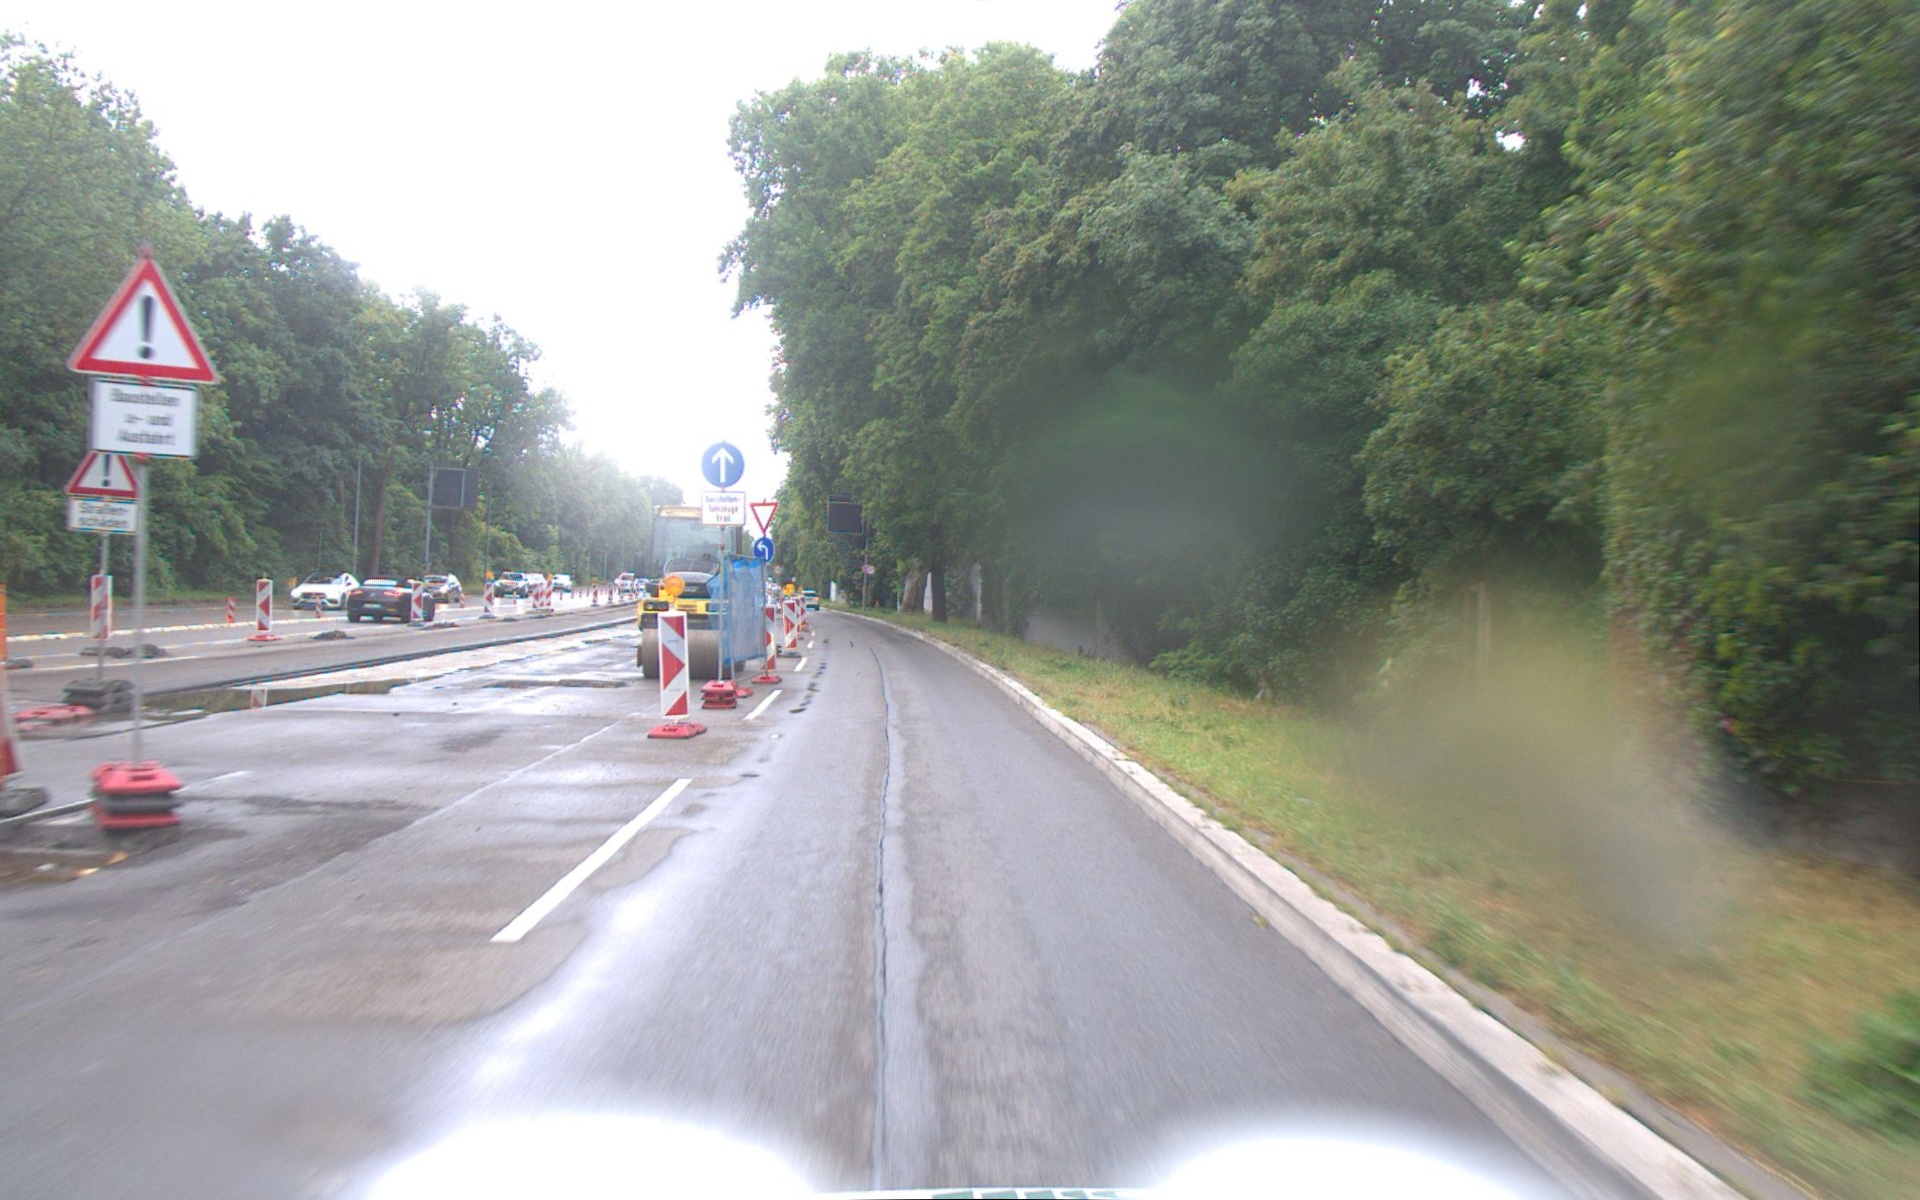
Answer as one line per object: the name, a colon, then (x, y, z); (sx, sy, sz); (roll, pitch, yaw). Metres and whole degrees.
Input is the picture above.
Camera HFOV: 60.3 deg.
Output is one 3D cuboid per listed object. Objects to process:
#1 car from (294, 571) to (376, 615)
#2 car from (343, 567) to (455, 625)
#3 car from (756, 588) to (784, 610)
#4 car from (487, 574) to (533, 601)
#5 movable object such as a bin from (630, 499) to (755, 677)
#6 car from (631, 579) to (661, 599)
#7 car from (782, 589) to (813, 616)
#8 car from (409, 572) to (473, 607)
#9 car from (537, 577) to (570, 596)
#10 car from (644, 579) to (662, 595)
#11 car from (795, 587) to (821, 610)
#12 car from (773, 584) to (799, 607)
car: (-24.223, -0.271, 64.223); (1.683, 1.629, 3.999); (0, 0, -1)
car: (-17.204, -0.148, 50.930); (1.823, 1.517, 4.003); (4, 3, 3)
car: (-15.602, -0.102, 135.891); (1.837, 1.645, 4.000); (5, 1, -1)
car: (-30.576, -0.844, 112.551); (1.888, 1.694, 4.651); (1, 0, -1)
movable object such as a bin: (-4.654, -0.203, 29.200); (1.711, 2.917, 3.533); (1, 0, -2)
car: (-29.412, -0.999, 155.081); (1.888, 1.809, 4.651); (1, 0, -1)
car: (-9.566, 0.120, 97.181); (1.723, 1.367, 3.995); (3, 1, -6)
car: (-26.917, -0.547, 85.974); (1.888, 1.694, 4.651); (1, 0, -1)
car: (-37.275, -1.213, 151.836); (1.888, 1.694, 4.651); (1, 0, -1)
car: (-33.386, -1.446, 179.854); (1.539, 1.482, 3.368); (4, 1, -15)
car: (-11.731, -0.151, 127.449); (1.877, 1.625, 4.828); (2, 1, -6)
car: (-12.071, -0.348, 114.804); (1.723, 1.367, 3.995); (3, 1, -6)
